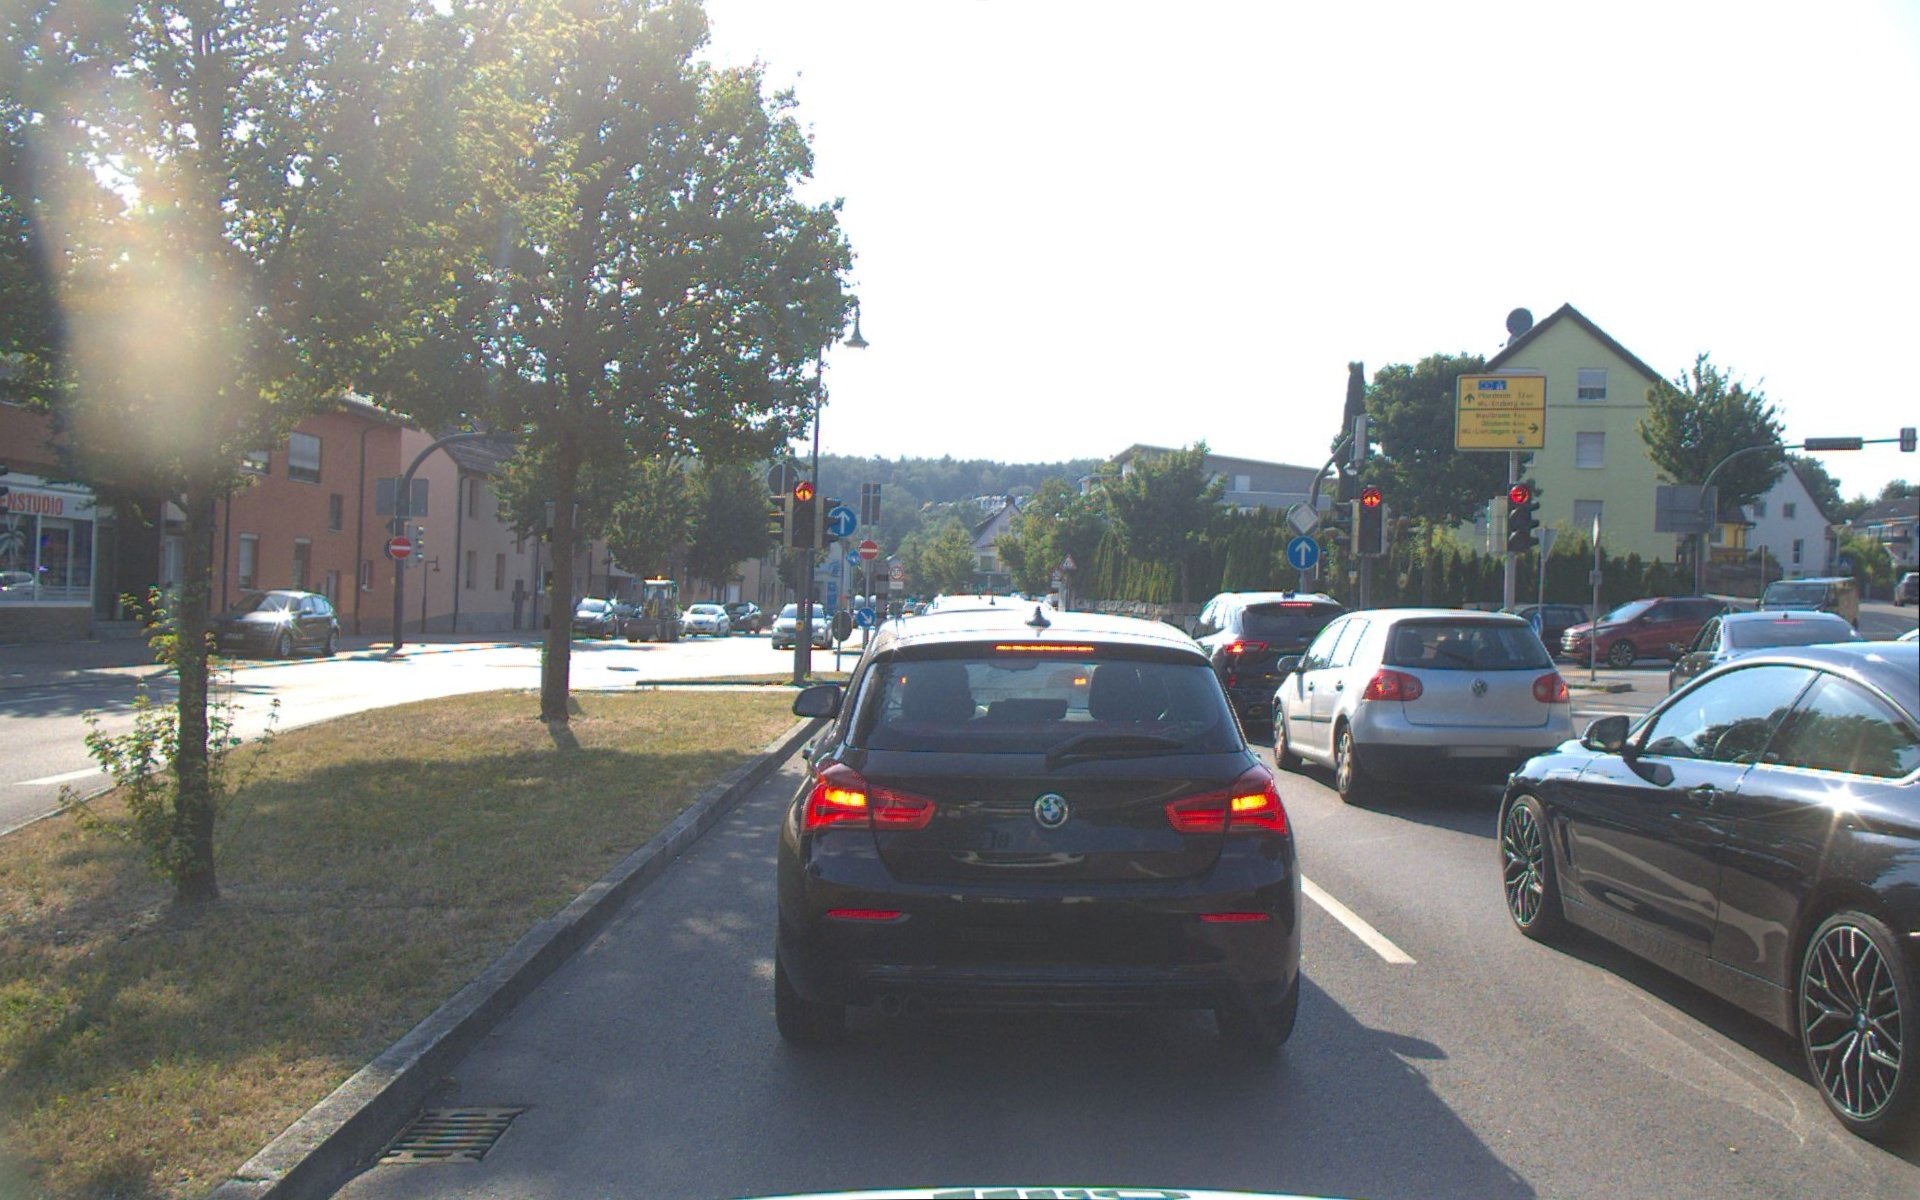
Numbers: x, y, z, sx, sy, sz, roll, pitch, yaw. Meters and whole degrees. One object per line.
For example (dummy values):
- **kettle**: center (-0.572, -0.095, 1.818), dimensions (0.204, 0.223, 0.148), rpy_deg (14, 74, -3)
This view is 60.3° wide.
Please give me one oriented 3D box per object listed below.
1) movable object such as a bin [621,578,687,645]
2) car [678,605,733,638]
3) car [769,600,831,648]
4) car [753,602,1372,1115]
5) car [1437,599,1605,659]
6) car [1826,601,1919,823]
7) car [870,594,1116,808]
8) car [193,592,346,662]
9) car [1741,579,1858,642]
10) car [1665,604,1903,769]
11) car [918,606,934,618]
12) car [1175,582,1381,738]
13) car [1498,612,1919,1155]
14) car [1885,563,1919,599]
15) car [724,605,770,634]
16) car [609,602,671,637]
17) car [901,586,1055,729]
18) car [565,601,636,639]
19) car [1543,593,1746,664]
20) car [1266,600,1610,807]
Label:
- **movable object such as a bin**: center (-11.740, 0.423, 63.749), dimensions (1.701, 2.485, 4.449), rpy_deg (0, 0, 0)
- **car**: center (-11.643, 0.957, 75.877), dimensions (1.701, 1.323, 3.800), rpy_deg (5, 0, 2)
- **car**: center (-5.311, 0.775, 55.342), dimensions (1.802, 1.508, 3.998), rpy_deg (1, 0, -2)
- **car**: center (0.289, 0.736, 6.853), dimensions (1.751, 1.422, 4.280), rpy_deg (-1, 0, 0)
- **car**: center (15.161, 0.767, 44.849), dimensions (3.907, 1.515, 1.847), rpy_deg (1, 0, -3)
- **car**: center (7.615, 0.800, 11.642), dimensions (1.583, 1.569, 3.320), rpy_deg (-1, 0, 6)
- **car**: center (0.230, 0.716, 13.998), dimensions (1.751, 1.520, 4.280), rpy_deg (-1, 0, 0)
- **car**: center (-15.480, 0.574, 37.306), dimensions (1.702, 1.323, 3.999), rpy_deg (5, 0, -1)
- **car**: center (24.907, 0.322, 49.006), dimensions (1.817, 1.770, 4.752), rpy_deg (1, 0, 43)
- **car**: center (9.039, 0.855, 18.475), dimensions (1.621, 1.569, 4.401), rpy_deg (-1, 0, 17)
- **car**: center (-4.408, 1.553, 213.418), dimensions (1.701, 1.323, 3.800), rpy_deg (5, 0, 2)
- **car**: center (3.739, 0.650, 20.072), dimensions (1.725, 1.685, 3.902), rpy_deg (-1, 0, 0)
- **car**: center (3.465, 0.786, 5.833), dimensions (1.725, 1.422, 4.280), rpy_deg (-1, 0, 0)
- **car**: center (45.751, -0.886, 79.374), dimensions (1.925, 1.709, 4.213), rpy_deg (0, 0, 23)
- **car**: center (-11.137, 1.028, 86.681), dimensions (1.701, 1.323, 3.800), rpy_deg (5, 0, 2)
- **car**: center (-14.115, 0.840, 73.201), dimensions (1.701, 1.323, 4.001), rpy_deg (5, 0, 2)
- **car**: center (0.200, 0.649, 21.038), dimensions (1.751, 1.622, 4.280), rpy_deg (-1, 0, 0)
- **car**: center (-14.507, 0.807, 66.920), dimensions (1.701, 1.323, 4.001), rpy_deg (5, 0, 3)
- **car**: center (17.039, 0.706, 41.254), dimensions (4.333, 1.670, 1.845), rpy_deg (1, 0, -8)
- **car**: center (3.786, 0.742, 13.789), dimensions (1.725, 1.451, 3.902), rpy_deg (-1, 0, 0)
